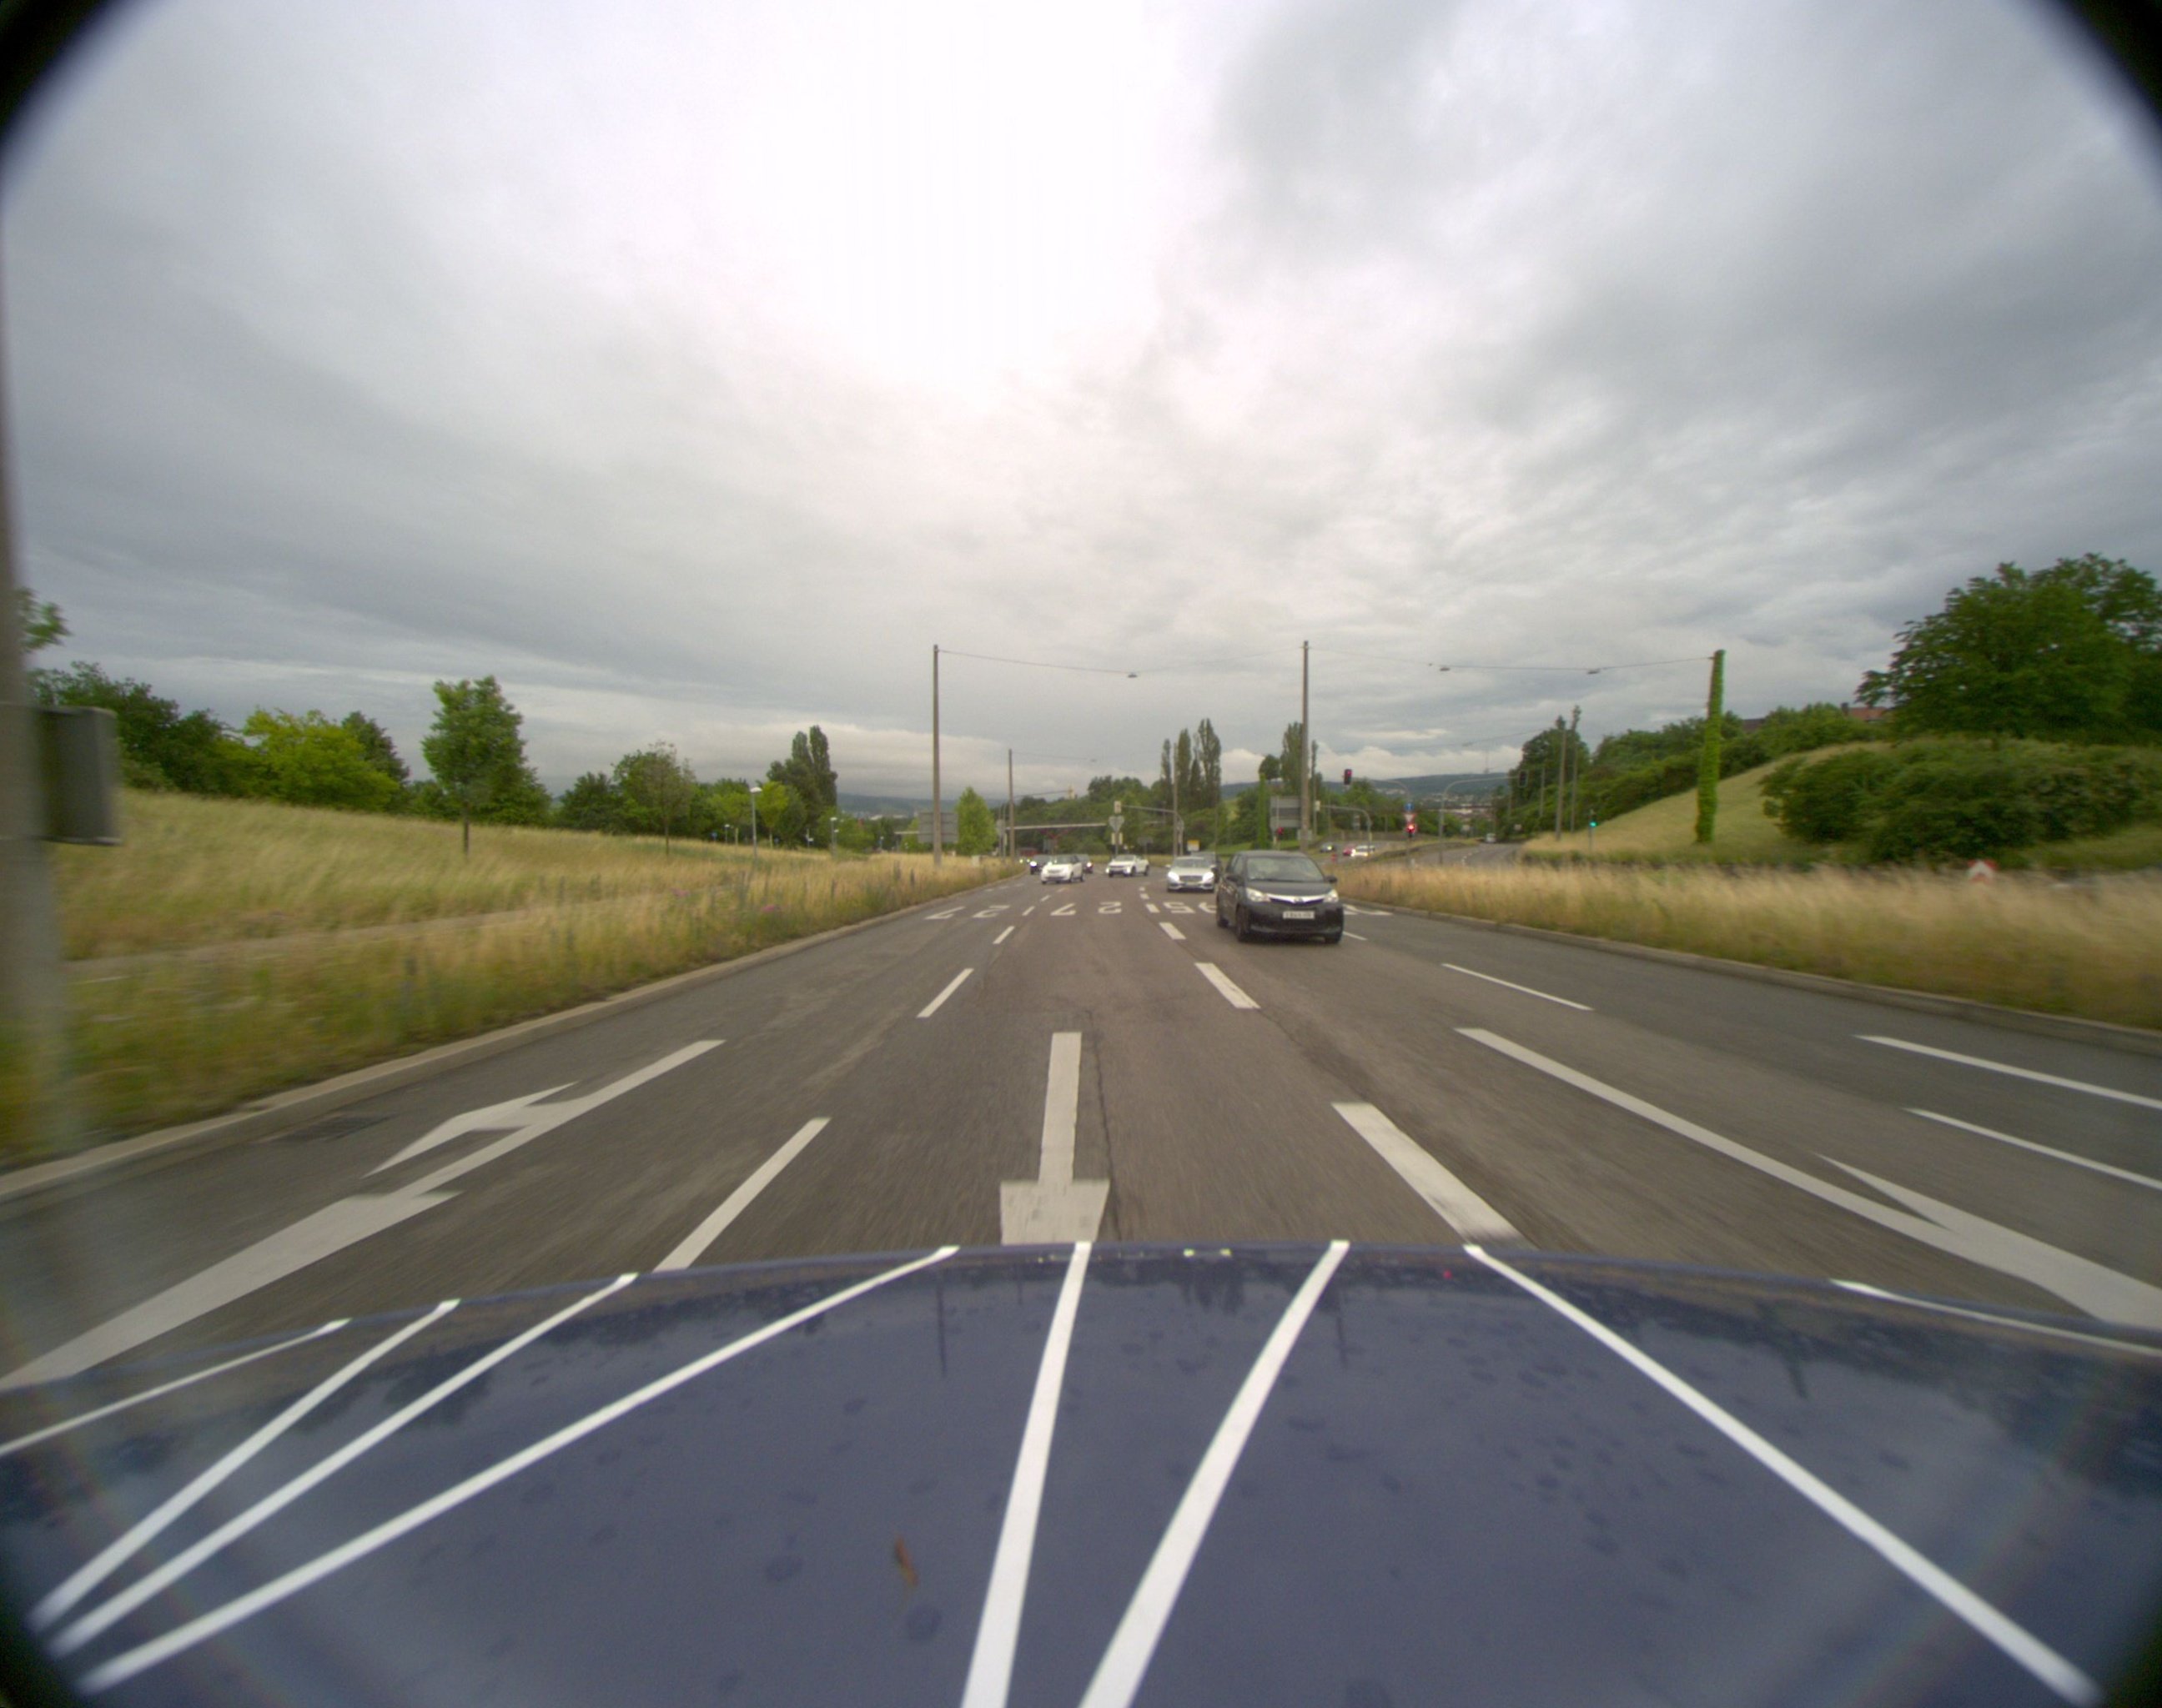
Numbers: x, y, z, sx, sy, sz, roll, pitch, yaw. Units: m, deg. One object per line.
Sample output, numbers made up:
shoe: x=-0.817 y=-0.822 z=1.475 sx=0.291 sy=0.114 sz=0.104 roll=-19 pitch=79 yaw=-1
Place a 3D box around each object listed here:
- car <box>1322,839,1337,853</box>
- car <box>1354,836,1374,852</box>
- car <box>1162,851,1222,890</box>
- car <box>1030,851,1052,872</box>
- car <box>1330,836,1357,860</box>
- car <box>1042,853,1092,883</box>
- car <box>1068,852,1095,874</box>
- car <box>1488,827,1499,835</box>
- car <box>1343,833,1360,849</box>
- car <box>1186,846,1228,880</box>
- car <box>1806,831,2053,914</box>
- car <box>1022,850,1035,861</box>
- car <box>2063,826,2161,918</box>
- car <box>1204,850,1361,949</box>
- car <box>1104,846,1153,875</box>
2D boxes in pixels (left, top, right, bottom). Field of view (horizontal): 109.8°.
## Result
car: x=38.629 y=-1.246 z=118.028 sx=1.995 sy=2.002 sz=4.006 roll=0 pitch=1 yaw=23
car: x=31.180 y=-1.141 z=83.680 sx=1.995 sy=1.682 sz=4.294 roll=-1 pitch=1 yaw=21
car: x=4.457 y=0.614 z=31.061 sx=1.998 sy=1.400 sz=4.524 roll=0 pitch=1 yaw=3
car: x=-3.423 y=0.594 z=64.902 sx=1.720 sy=1.633 sz=3.886 roll=-3 pitch=1 yaw=-3
car: x=23.486 y=-0.531 z=67.983 sx=1.996 sy=2.001 sz=4.006 roll=-3 pitch=-1 yaw=22
car: x=-0.709 y=0.731 z=41.829 sx=1.724 sy=1.513 sz=4.231 roll=0 pitch=1 yaw=14
car: x=0.007 y=0.741 z=63.883 sx=1.999 sy=1.633 sz=4.626 roll=-3 pitch=1 yaw=-3
car: x=79.899 y=-4.434 z=147.117 sx=1.557 sy=1.424 sz=3.235 roll=-2 pitch=2 yaw=32
car: x=37.186 y=-1.771 z=104.427 sx=1.995 sy=2.002 sz=4.006 roll=-2 pitch=0 yaw=22
car: x=6.951 y=0.470 z=41.687 sx=1.925 sy=1.725 sz=4.029 roll=-1 pitch=1 yaw=14
car: x=22.480 y=0.393 z=20.417 sx=1.999 sy=2.002 sz=3.998 roll=0 pitch=2 yaw=-3
car: x=-9.950 y=0.237 z=143.177 sx=2.000 sy=2.002 sz=3.996 roll=-1 pitch=1 yaw=-10
car: x=20.109 y=0.304 z=12.812 sx=1.866 sy=1.611 sz=3.998 roll=-2 pitch=1 yaw=-3
car: x=3.512 y=0.714 z=14.030 sx=1.800 sy=1.556 sz=4.043 roll=0 pitch=0 yaw=0
car: x=3.290 y=0.415 z=52.046 sx=1.839 sy=1.532 sz=3.822 roll=-1 pitch=5 yaw=29
